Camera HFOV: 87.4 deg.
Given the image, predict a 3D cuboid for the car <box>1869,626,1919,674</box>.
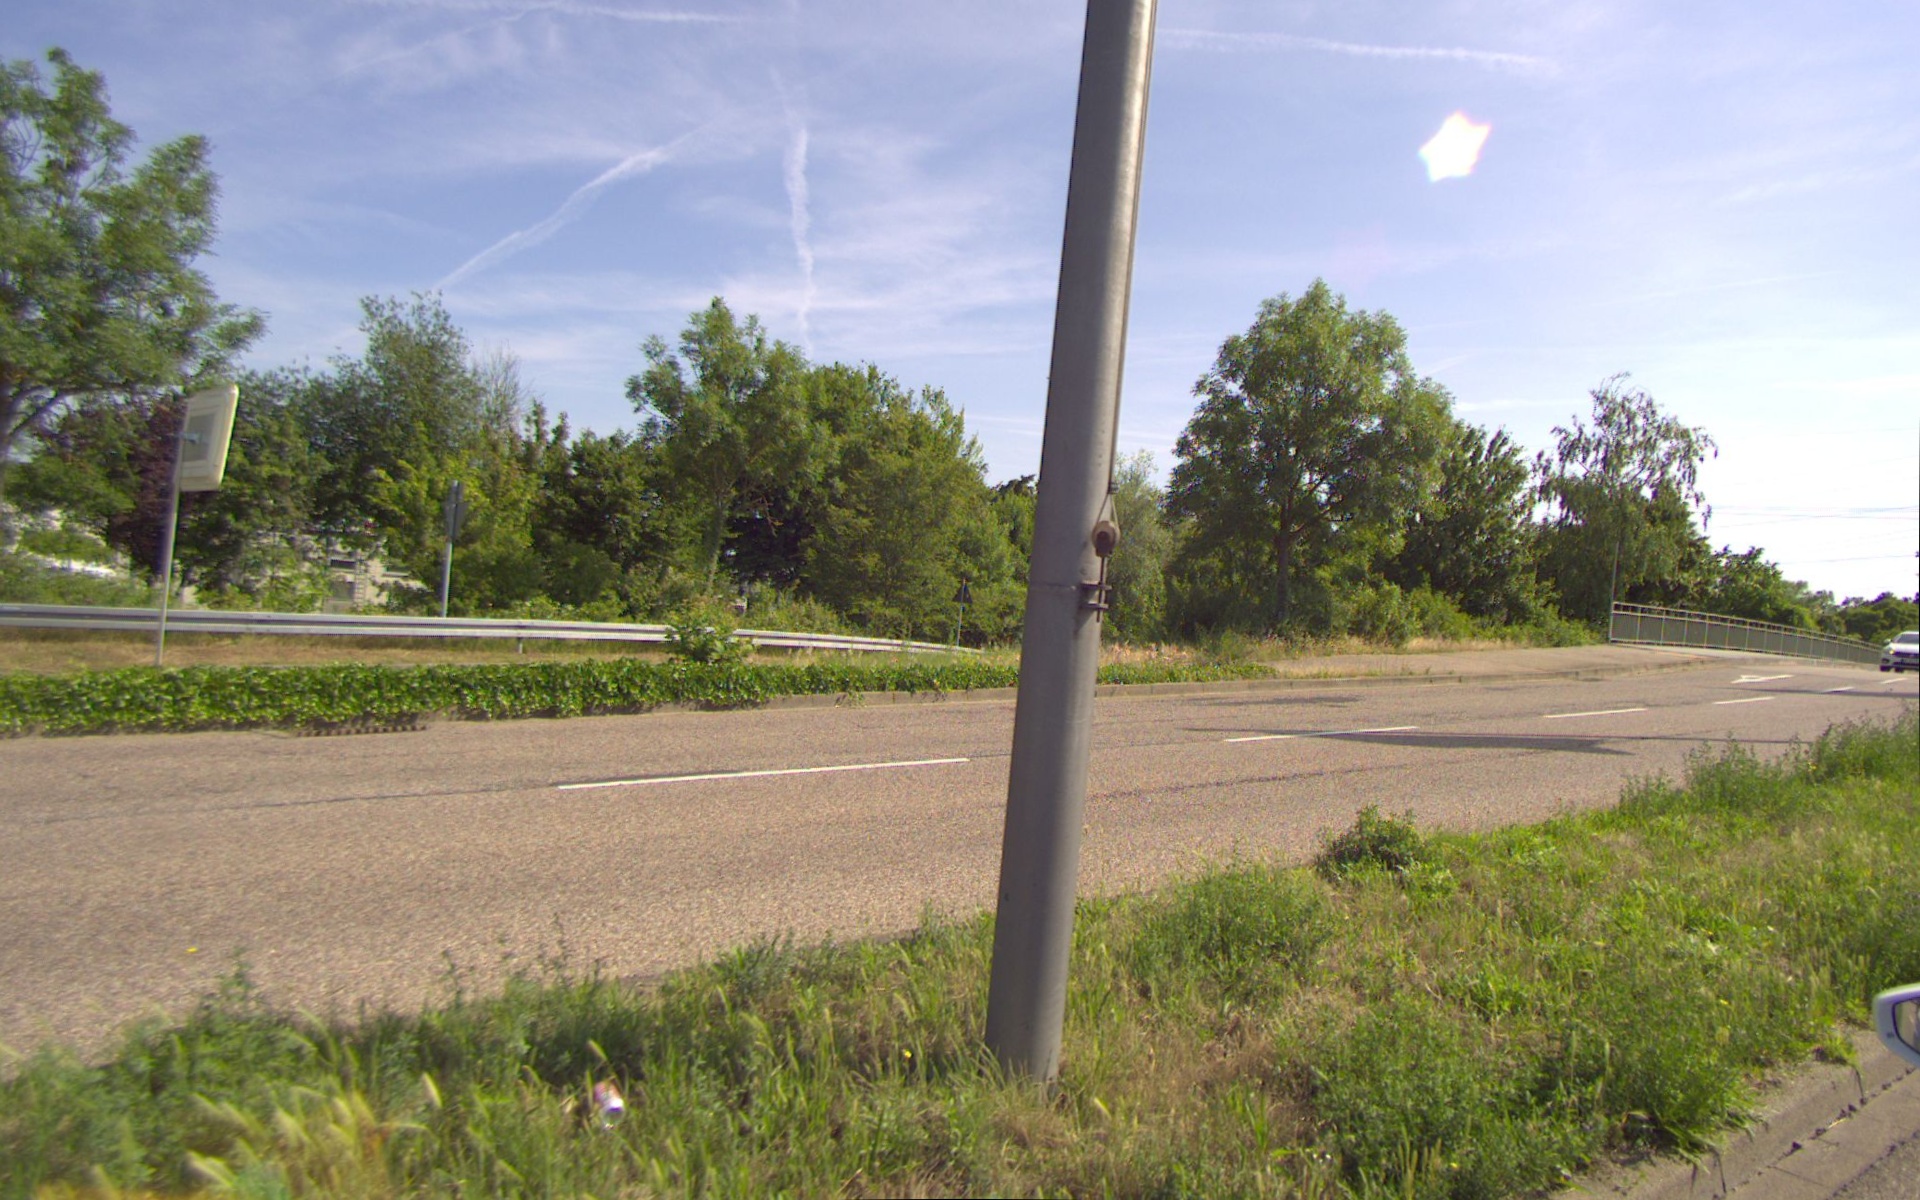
[{"bbox_3d":[33.467,1.770,35.055,3.962,1.571,1.784,3,-1,-36],"label":"car"}]
